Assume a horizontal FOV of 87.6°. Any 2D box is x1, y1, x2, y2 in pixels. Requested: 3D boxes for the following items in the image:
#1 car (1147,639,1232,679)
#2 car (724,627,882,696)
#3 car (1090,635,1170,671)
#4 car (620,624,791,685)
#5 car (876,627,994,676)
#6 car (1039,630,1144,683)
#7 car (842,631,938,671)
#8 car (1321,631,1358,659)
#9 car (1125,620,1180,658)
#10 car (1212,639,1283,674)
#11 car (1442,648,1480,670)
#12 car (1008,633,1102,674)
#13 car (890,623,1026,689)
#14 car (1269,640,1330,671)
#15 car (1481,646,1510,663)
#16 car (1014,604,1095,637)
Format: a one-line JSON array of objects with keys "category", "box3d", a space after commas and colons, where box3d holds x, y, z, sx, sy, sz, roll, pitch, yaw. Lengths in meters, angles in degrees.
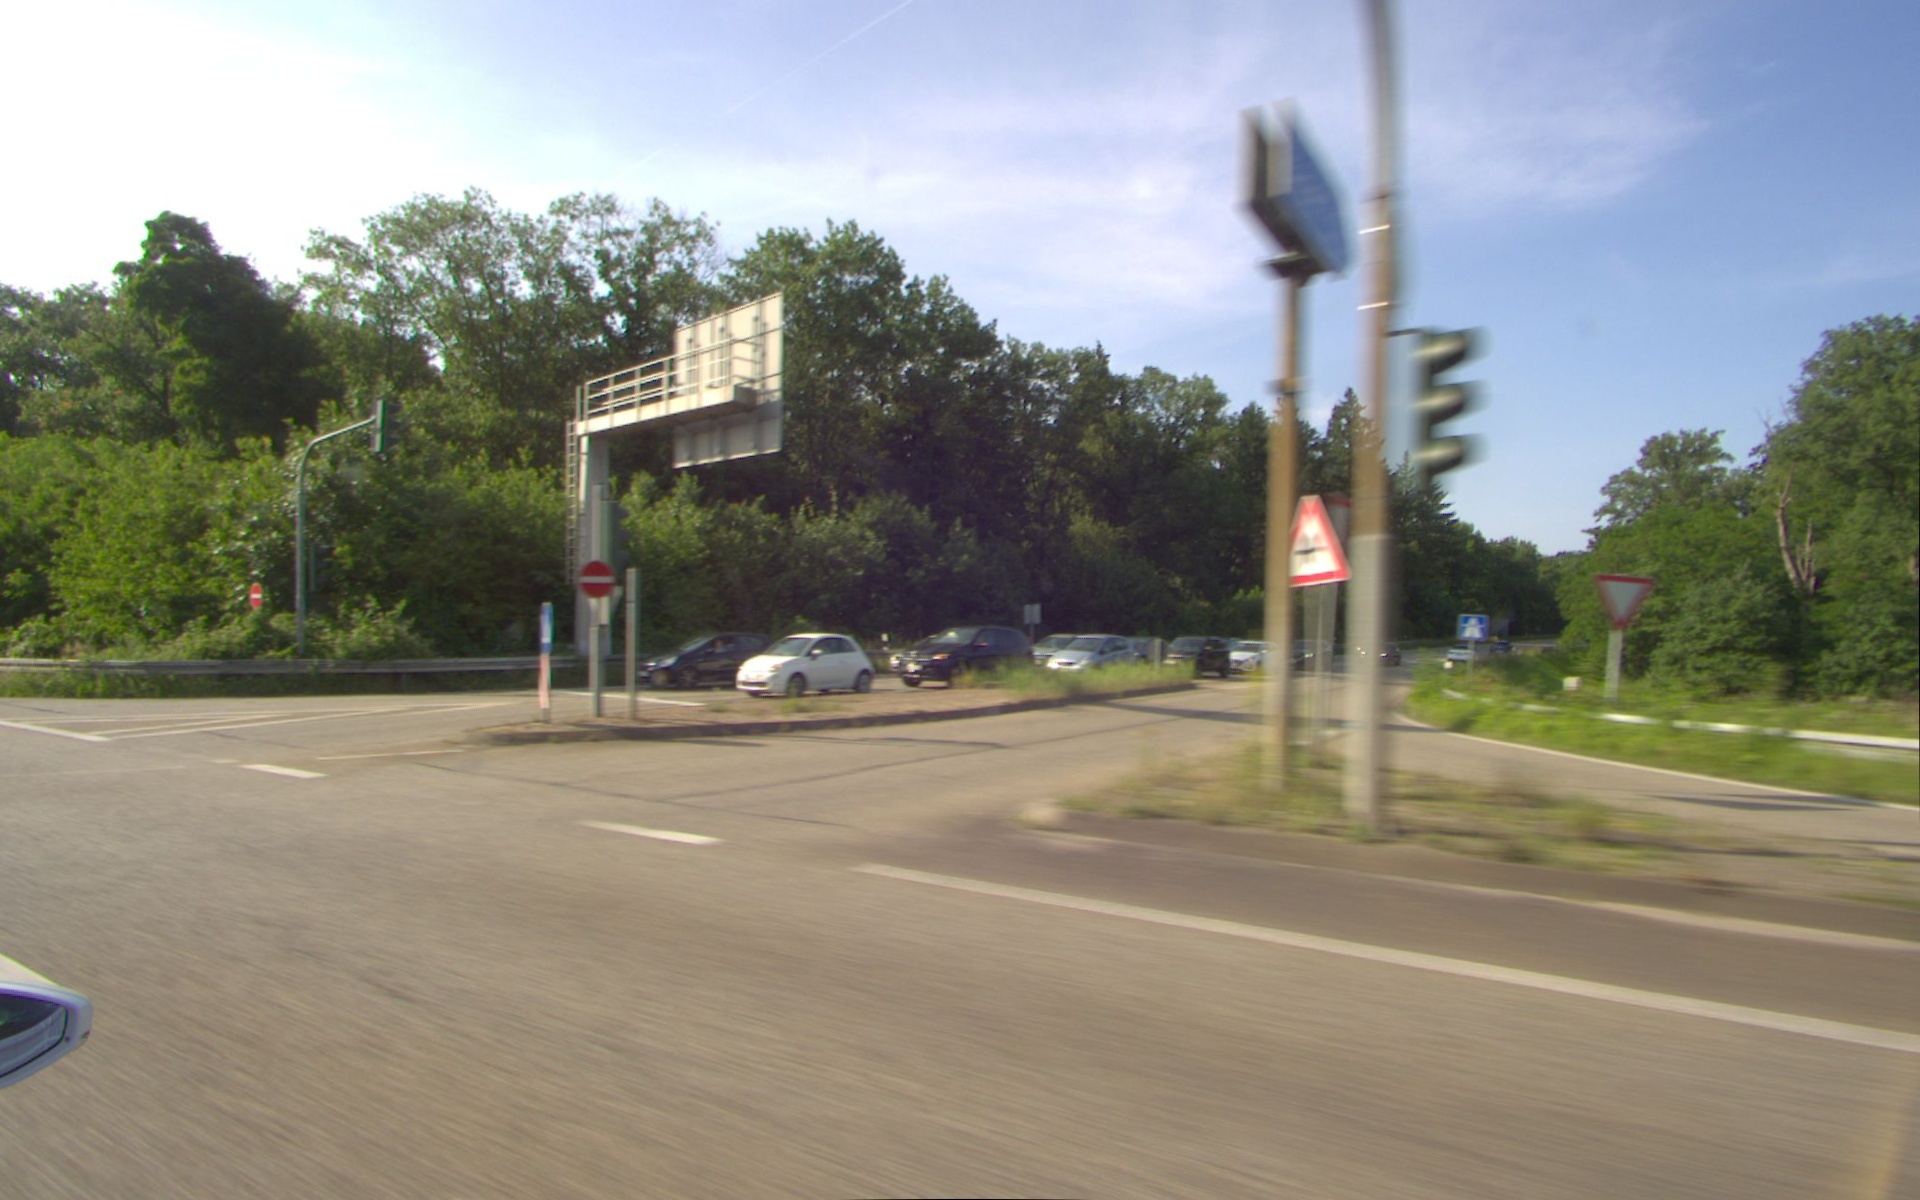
[{"category": "car", "box3d": [9.163, 2.286, 39.852, 1.845, 1.459, 4.098, 0, -2, 36]}, {"category": "car", "box3d": [-3.749, 1.442, 24.353, 1.784, 1.522, 3.587, 0, -2, 36]}, {"category": "car", "box3d": [7.476, 2.300, 43.757, 1.845, 1.459, 4.098, 0, -2, 36]}, {"category": "car", "box3d": [-6.755, 1.426, 26.701, 4.071, 1.515, 1.773, 2, -1, -34]}, {"category": "car", "box3d": [-0.775, 1.694, 33.526, 1.845, 1.515, 4.098, 0, -2, 36]}, {"category": "car", "box3d": [4.586, 1.905, 34.539, 1.845, 1.653, 4.098, 0, -2, 36]}, {"category": "car", "box3d": [-2.484, 1.807, 36.141, 1.472, 1.330, 3.614, 0, -2, 37]}, {"category": "car", "box3d": [27.899, 3.306, 73.542, 1.573, 2.039, 3.978, 0, -2, 35]}, {"category": "car", "box3d": [10.863, 2.214, 56.440, 1.573, 2.039, 3.978, 0, -2, 35]}, {"category": "car", "box3d": [13.072, 2.524, 45.397, 1.845, 1.459, 4.098, 0, -2, 36]}, {"category": "car", "box3d": [36.486, 4.260, 72.845, 1.845, 1.459, 4.098, 0, -2, 36]}, {"category": "car", "box3d": [3.780, 2.054, 39.175, 1.845, 1.459, 4.098, 0, -2, 36]}, {"category": "car", "box3d": [0.023, 1.555, 28.736, 1.845, 1.730, 4.098, 0, -2, 36]}, {"category": "car", "box3d": [17.622, 2.832, 51.847, 1.845, 1.459, 4.098, 0, -2, 36]}, {"category": "car", "box3d": [48.400, 4.922, 90.474, 1.844, 1.459, 4.101, 0, -2, 34]}, {"category": "car", "box3d": [4.380, 0.964, 45.802, 1.845, 1.459, 4.098, 0, -2, 36]}]
